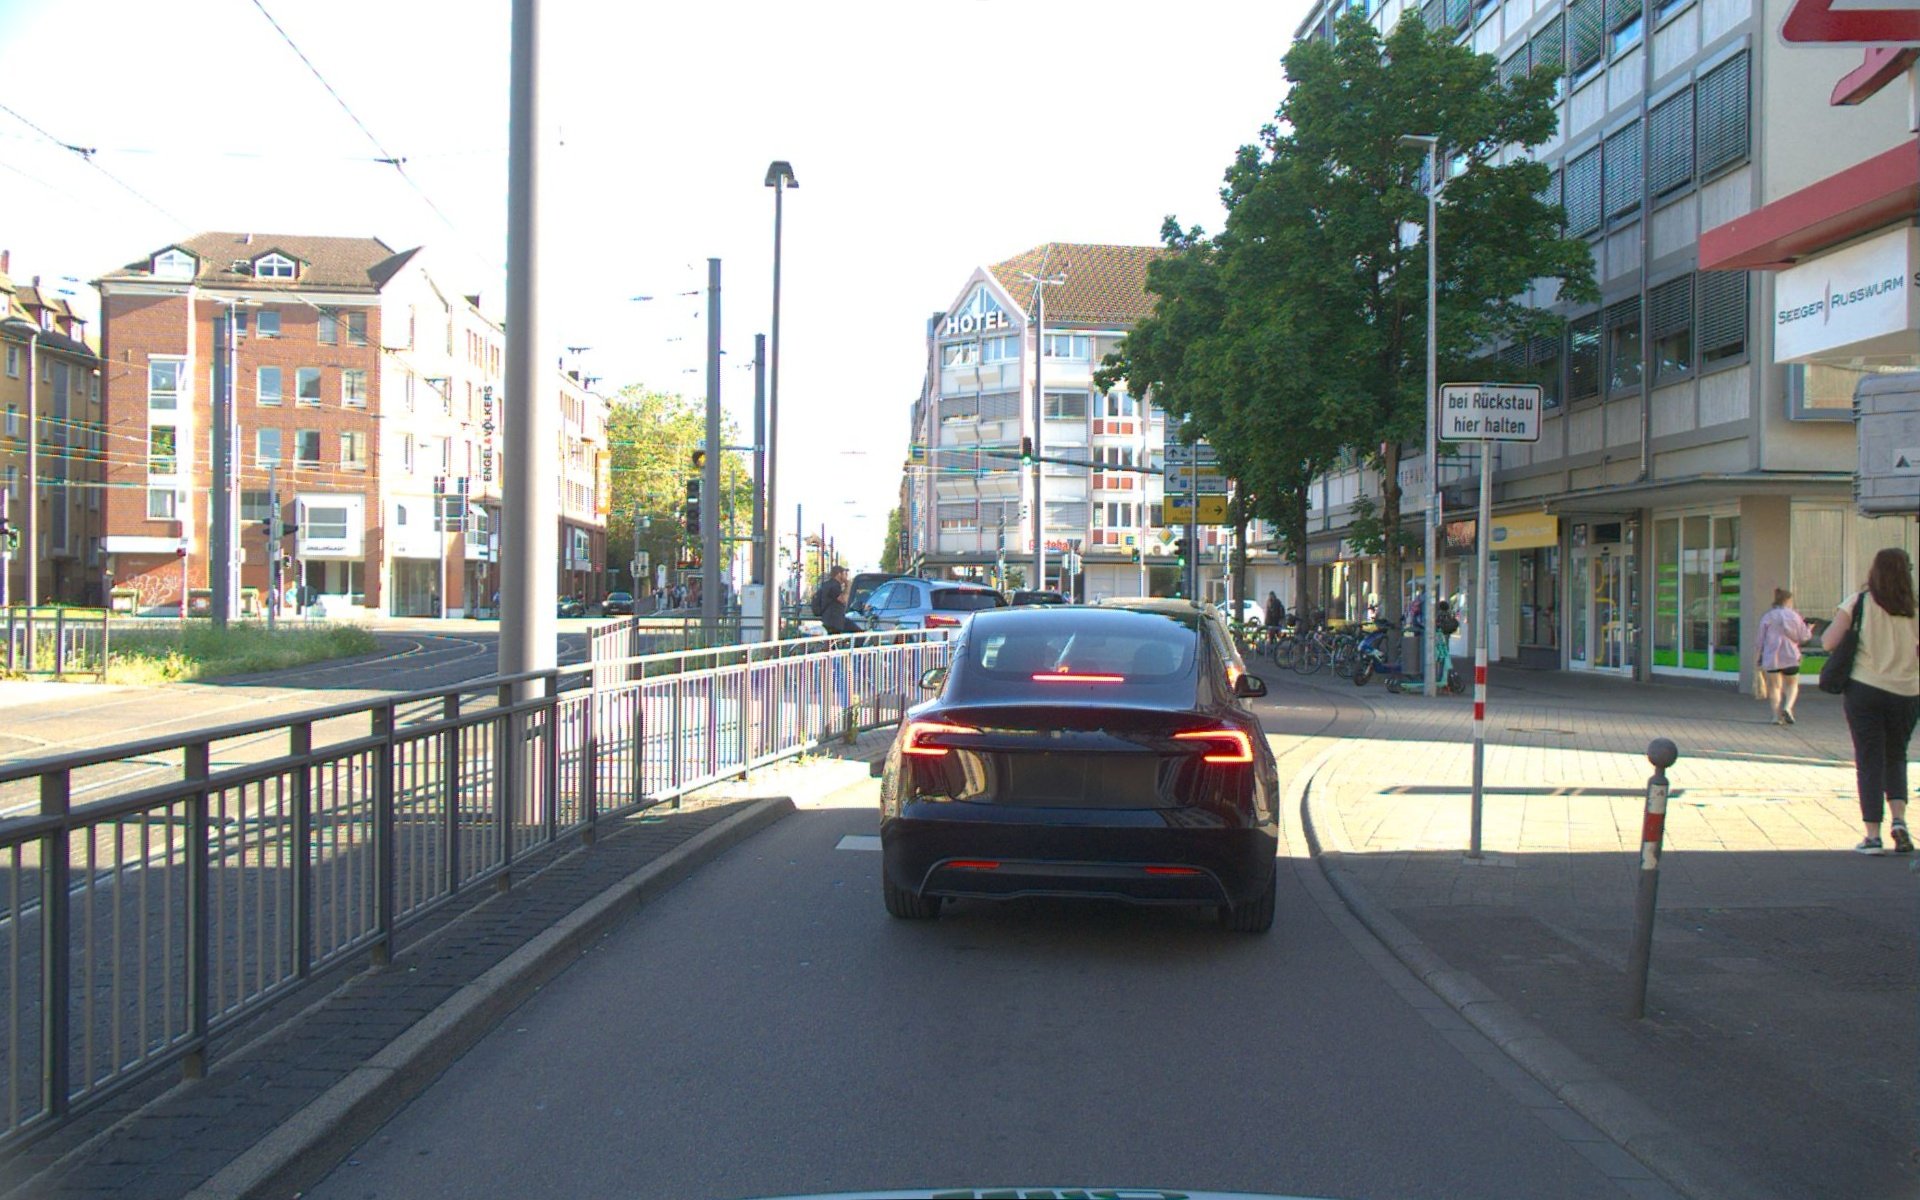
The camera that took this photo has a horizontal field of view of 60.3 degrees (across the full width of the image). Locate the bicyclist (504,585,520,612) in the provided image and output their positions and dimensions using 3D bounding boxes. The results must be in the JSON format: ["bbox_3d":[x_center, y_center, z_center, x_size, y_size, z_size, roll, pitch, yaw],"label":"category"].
[{"bbox_3d":[-26.701,-0.073,98.589,0.768,1.590,0.746,0,0,0],"label":"bicyclist"}]

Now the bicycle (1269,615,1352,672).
[{"bbox_3d":[7.095,0.883,33.484,1.620,1.118,0.349,1,-1,-11],"label":"bicycle"}]

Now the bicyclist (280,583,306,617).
[{"bbox_3d":[-29.703,-0.020,73.656,0.689,1.496,0.973,0,0,7],"label":"bicyclist"}]

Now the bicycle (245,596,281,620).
[{"bbox_3d":[-28.378,0.326,67.348,0.513,0.988,2.246,1,0,-1],"label":"bicycle"}]

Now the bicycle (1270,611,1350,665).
[{"bbox_3d":[7.499,0.812,35.439,1.616,1.118,0.350,1,-1,1],"label":"bicycle"}]

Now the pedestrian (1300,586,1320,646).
[{"bbox_3d":[10.280,0.475,48.539,0.515,1.740,0.403,1,-1,5],"label":"pedestrian"}]

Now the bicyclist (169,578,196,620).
[{"bbox_3d":[-28.315,-0.032,60.223,0.620,1.529,0.696,1,-1,-1],"label":"bicyclist"}]

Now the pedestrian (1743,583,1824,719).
[{"bbox_3d":[10.559,0.641,21.231,0.871,1.696,0.808,1,-1,23],"label":"pedestrian"}]

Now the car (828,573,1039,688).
[{"bbox_3d":[-0.510,0.454,26.415,1.859,1.691,4.125,1,0,-25],"label":"car"}]

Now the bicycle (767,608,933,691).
[{"bbox_3d":[-1.471,0.665,22.438,2.313,1.072,0.622,1,-1,-39],"label":"bicycle"}]

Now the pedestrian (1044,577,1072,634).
[{"bbox_3d":[3.515,0.197,59.513,0.902,2.049,0.972,1,-1,-1],"label":"pedestrian"}]

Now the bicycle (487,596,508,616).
[{"bbox_3d":[-26.414,0.327,94.501,0.526,1.107,2.224,1,0,0],"label":"bicycle"}]

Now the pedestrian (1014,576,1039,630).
[{"bbox_3d":[2.531,0.120,62.996,0.902,2.049,0.972,1,-1,-1],"label":"pedestrian"}]

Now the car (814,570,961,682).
[{"bbox_3d":[-1.493,0.485,32.603,1.962,2.049,3.981,0,0,-17],"label":"car"}]

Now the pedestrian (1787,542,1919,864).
[{"bbox_3d":[5.395,0.566,9.689,0.895,1.783,1.038,0,0,22],"label":"pedestrian"}]

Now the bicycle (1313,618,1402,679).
[{"bbox_3d":[7.478,0.915,31.117,1.620,1.118,0.349,1,-1,-11],"label":"bicycle"}]

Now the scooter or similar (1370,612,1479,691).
[{"bbox_3d":[7.662,0.836,27.283,1.610,1.236,0.644,1,-1,30],"label":"scooter or similar"}]

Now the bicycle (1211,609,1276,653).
[{"bbox_3d":[7.292,0.797,42.568,1.616,1.118,0.350,1,-1,1],"label":"bicycle"}]

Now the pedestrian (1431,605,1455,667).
[{"bbox_3d":[10.663,0.788,36.502,0.381,1.367,0.513,1,-1,1],"label":"pedestrian"}]

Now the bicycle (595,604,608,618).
[{"bbox_3d":[-28.963,0.887,133.709,0.518,1.107,2.225,1,0,1],"label":"bicycle"}]

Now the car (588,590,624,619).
[{"bbox_3d":[-22.588,0.276,105.676,1.663,1.762,3.704,1,0,-3],"label":"car"}]

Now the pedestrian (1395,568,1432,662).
[{"bbox_3d":[10.036,0.321,36.588,0.648,2.049,0.579,1,-1,1],"label":"pedestrian"}]

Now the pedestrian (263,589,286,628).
[{"bbox_3d":[-32.941,0.409,79.457,0.767,1.852,0.746,1,-1,1],"label":"pedestrian"}]

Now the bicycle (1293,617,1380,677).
[{"bbox_3d":[7.278,0.906,31.959,1.620,1.118,0.349,1,-1,-11],"label":"bicycle"}]

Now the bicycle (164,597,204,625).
[{"bbox_3d":[-28.324,0.387,60.391,0.437,0.988,2.246,1,0,-1],"label":"bicycle"}]

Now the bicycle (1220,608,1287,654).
[{"bbox_3d":[7.362,0.773,41.476,1.616,1.118,0.350,0,0,1],"label":"bicycle"}]

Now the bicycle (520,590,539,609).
[{"bbox_3d":[-26.657,-0.027,102.548,0.518,1.107,2.284,1,0,1],"label":"bicycle"}]

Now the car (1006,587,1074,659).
[{"bbox_3d":[2.107,0.594,44.172,1.565,1.809,3.980,1,0,0],"label":"car"}]

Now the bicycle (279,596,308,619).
[{"bbox_3d":[-29.672,0.334,73.656,0.396,0.998,1.695,1,0,7],"label":"bicycle"}]

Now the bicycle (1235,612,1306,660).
[{"bbox_3d":[7.398,0.863,39.417,1.616,1.118,0.350,1,-1,1],"label":"bicycle"}]

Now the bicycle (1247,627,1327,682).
[{"bbox_3d":[6.786,1.138,34.332,1.620,1.118,0.349,1,-1,-11],"label":"bicycle"}]

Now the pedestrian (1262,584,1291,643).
[{"bbox_3d":[9.293,0.400,48.554,0.685,1.691,0.777,1,-1,-1],"label":"pedestrian"}]

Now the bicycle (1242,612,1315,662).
[{"bbox_3d":[7.382,0.862,38.390,1.616,1.118,0.350,1,-1,1],"label":"bicycle"}]

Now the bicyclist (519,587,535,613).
[{"bbox_3d":[-26.716,-0.013,101.961,0.767,1.590,0.746,0,0,1],"label":"bicyclist"}]

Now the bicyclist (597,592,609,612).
[{"bbox_3d":[-28.945,0.155,133.980,0.767,1.590,0.746,1,-1,1],"label":"bicyclist"}]

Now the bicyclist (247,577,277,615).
[{"bbox_3d":[-28.389,-0.146,67.294,0.880,1.529,0.696,1,-1,-1],"label":"bicyclist"}]

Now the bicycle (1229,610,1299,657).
[{"bbox_3d":[7.427,0.816,40.431,1.616,1.118,0.350,1,-1,1],"label":"bicycle"}]

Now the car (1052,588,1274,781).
[{"bbox_3d":[1.783,0.650,14.971,1.714,1.480,4.003,1,0,6],"label":"car"}]

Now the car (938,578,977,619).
[{"bbox_3d":[-0.122,-0.044,74.469,1.685,1.781,3.753,1,0,-1],"label":"car"}]

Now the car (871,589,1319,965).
[{"bbox_3d":[0.686,0.721,8.705,1.791,1.481,4.002,1,0,4],"label":"car"}]

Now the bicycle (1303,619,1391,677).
[{"bbox_3d":[7.382,0.911,31.537,1.620,1.079,0.349,1,-1,-11],"label":"bicycle"}]

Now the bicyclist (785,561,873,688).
[{"bbox_3d":[-1.762,0.320,22.222,0.753,1.657,0.964,1,-1,-39],"label":"bicyclist"}]

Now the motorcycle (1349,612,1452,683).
[{"bbox_3d":[7.809,0.836,29.333,1.673,1.194,0.541,1,-1,-3],"label":"motorcycle"}]

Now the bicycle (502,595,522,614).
[{"bbox_3d":[-26.709,0.285,98.571,0.518,1.107,2.283,4,-1,0],"label":"bicycle"}]

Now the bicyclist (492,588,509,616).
[{"bbox_3d":[-26.413,0.108,95.024,0.768,1.590,0.746,1,-1,-1],"label":"bicyclist"}]

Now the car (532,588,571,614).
[{"bbox_3d":[-25.106,0.083,101.740,1.677,1.553,4.031,1,0,-5],"label":"car"}]
